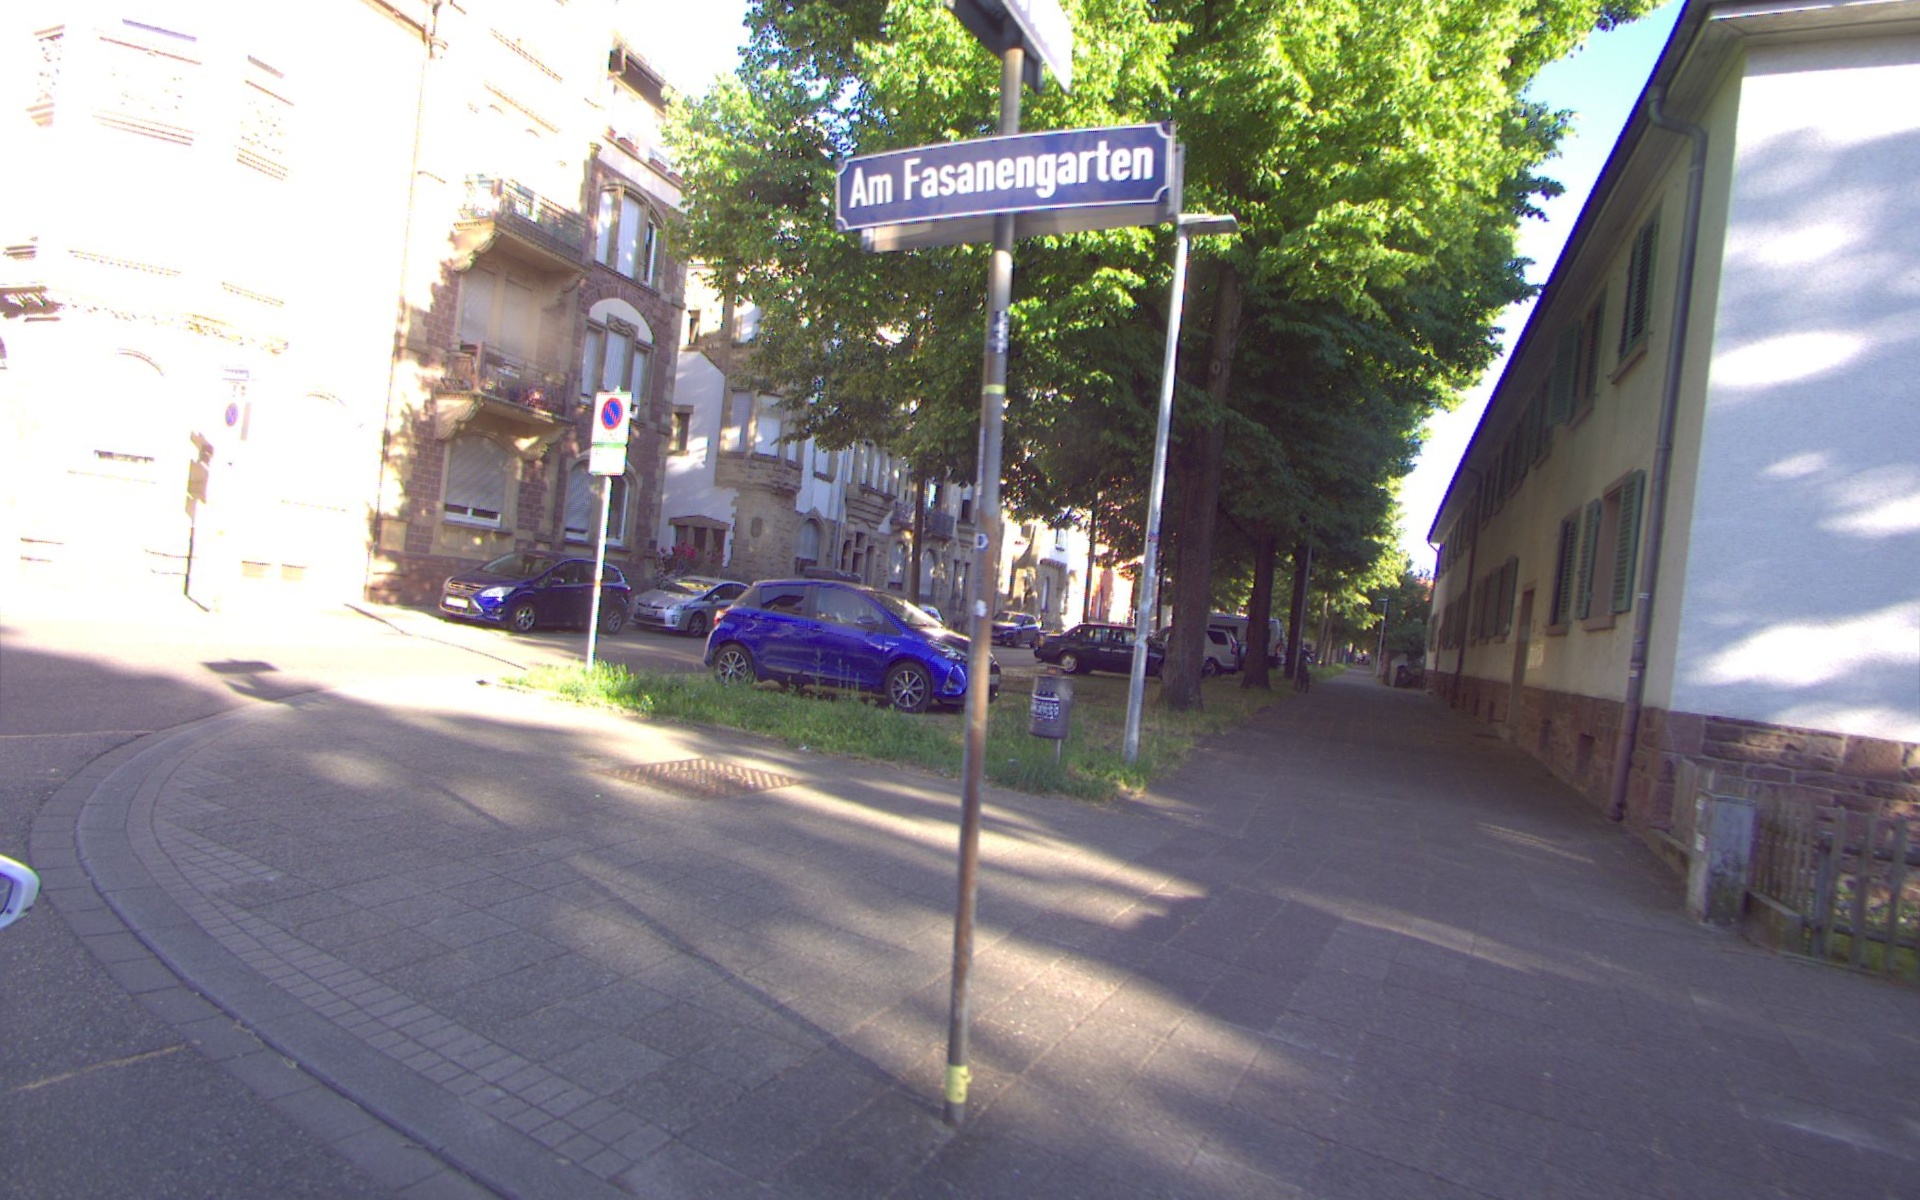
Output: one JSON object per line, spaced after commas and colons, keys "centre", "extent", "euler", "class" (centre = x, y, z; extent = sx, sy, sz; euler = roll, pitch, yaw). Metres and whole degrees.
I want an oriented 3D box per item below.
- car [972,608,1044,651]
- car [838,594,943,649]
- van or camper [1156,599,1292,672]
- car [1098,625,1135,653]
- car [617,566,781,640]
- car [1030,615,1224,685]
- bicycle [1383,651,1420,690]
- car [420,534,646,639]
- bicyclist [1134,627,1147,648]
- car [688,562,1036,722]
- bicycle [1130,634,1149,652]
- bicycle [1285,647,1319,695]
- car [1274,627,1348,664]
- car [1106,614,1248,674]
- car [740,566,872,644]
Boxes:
{"centre": [2.348, 1.450, 48.023], "extent": [2.018, 1.641, 4.397], "euler": [6, -2, 20], "class": "car"}
{"centre": [-2.447, 0.835, 36.753], "extent": [1.704, 1.592, 4.709], "euler": [6, -2, 24], "class": "car"}
{"centre": [11.907, 1.572, 45.404], "extent": [5.489, 2.568, 2.268], "euler": [7, 0, 21], "class": "van or camper"}
{"centre": [10.621, 2.657, 68.170], "extent": [1.468, 1.535, 3.775], "euler": [10, 0, 22], "class": "car"}
{"centre": [-6.583, 0.146, 25.900], "extent": [1.703, 1.517, 4.454], "euler": [8, 0, 20], "class": "car"}
{"centre": [4.551, 1.359, 27.388], "extent": [4.819, 1.459, 1.943], "euler": [4, -2, 21], "class": "car"}
{"centre": [18.160, 2.876, 41.386], "extent": [0.787, 1.416, 2.006], "euler": [6, 0, 10], "class": "bicycle"}
{"centre": [-8.682, -0.189, 20.883], "extent": [1.703, 1.641, 4.261], "euler": [8, -1, 20], "class": "car"}
{"centre": [12.314, 2.560, 68.606], "extent": [0.654, 1.362, 1.060], "euler": [5, 0, 19], "class": "bicyclist"}
{"centre": [-1.233, 0.524, 13.101], "extent": [3.926, 1.574, 2.001], "euler": [5, -2, 21], "class": "car"}
{"centre": [12.248, 2.933, 68.530], "extent": [0.741, 1.193, 2.620], "euler": [5, 0, 19], "class": "bicycle"}
{"centre": [9.399, 1.930, 27.700], "extent": [0.618, 1.177, 1.935], "euler": [7, 0, 15], "class": "bicycle"}
{"centre": [38.436, 4.988, 110.225], "extent": [7.225, 3.321, 2.222], "euler": [5, -1, 24], "class": "car"}
{"centre": [7.377, 1.462, 34.170], "extent": [4.408, 1.691, 1.941], "euler": [3, 0, 21], "class": "car"}
{"centre": [-4.677, 0.222, 31.315], "extent": [1.938, 1.998, 4.497], "euler": [8, 0, 20], "class": "car"}
